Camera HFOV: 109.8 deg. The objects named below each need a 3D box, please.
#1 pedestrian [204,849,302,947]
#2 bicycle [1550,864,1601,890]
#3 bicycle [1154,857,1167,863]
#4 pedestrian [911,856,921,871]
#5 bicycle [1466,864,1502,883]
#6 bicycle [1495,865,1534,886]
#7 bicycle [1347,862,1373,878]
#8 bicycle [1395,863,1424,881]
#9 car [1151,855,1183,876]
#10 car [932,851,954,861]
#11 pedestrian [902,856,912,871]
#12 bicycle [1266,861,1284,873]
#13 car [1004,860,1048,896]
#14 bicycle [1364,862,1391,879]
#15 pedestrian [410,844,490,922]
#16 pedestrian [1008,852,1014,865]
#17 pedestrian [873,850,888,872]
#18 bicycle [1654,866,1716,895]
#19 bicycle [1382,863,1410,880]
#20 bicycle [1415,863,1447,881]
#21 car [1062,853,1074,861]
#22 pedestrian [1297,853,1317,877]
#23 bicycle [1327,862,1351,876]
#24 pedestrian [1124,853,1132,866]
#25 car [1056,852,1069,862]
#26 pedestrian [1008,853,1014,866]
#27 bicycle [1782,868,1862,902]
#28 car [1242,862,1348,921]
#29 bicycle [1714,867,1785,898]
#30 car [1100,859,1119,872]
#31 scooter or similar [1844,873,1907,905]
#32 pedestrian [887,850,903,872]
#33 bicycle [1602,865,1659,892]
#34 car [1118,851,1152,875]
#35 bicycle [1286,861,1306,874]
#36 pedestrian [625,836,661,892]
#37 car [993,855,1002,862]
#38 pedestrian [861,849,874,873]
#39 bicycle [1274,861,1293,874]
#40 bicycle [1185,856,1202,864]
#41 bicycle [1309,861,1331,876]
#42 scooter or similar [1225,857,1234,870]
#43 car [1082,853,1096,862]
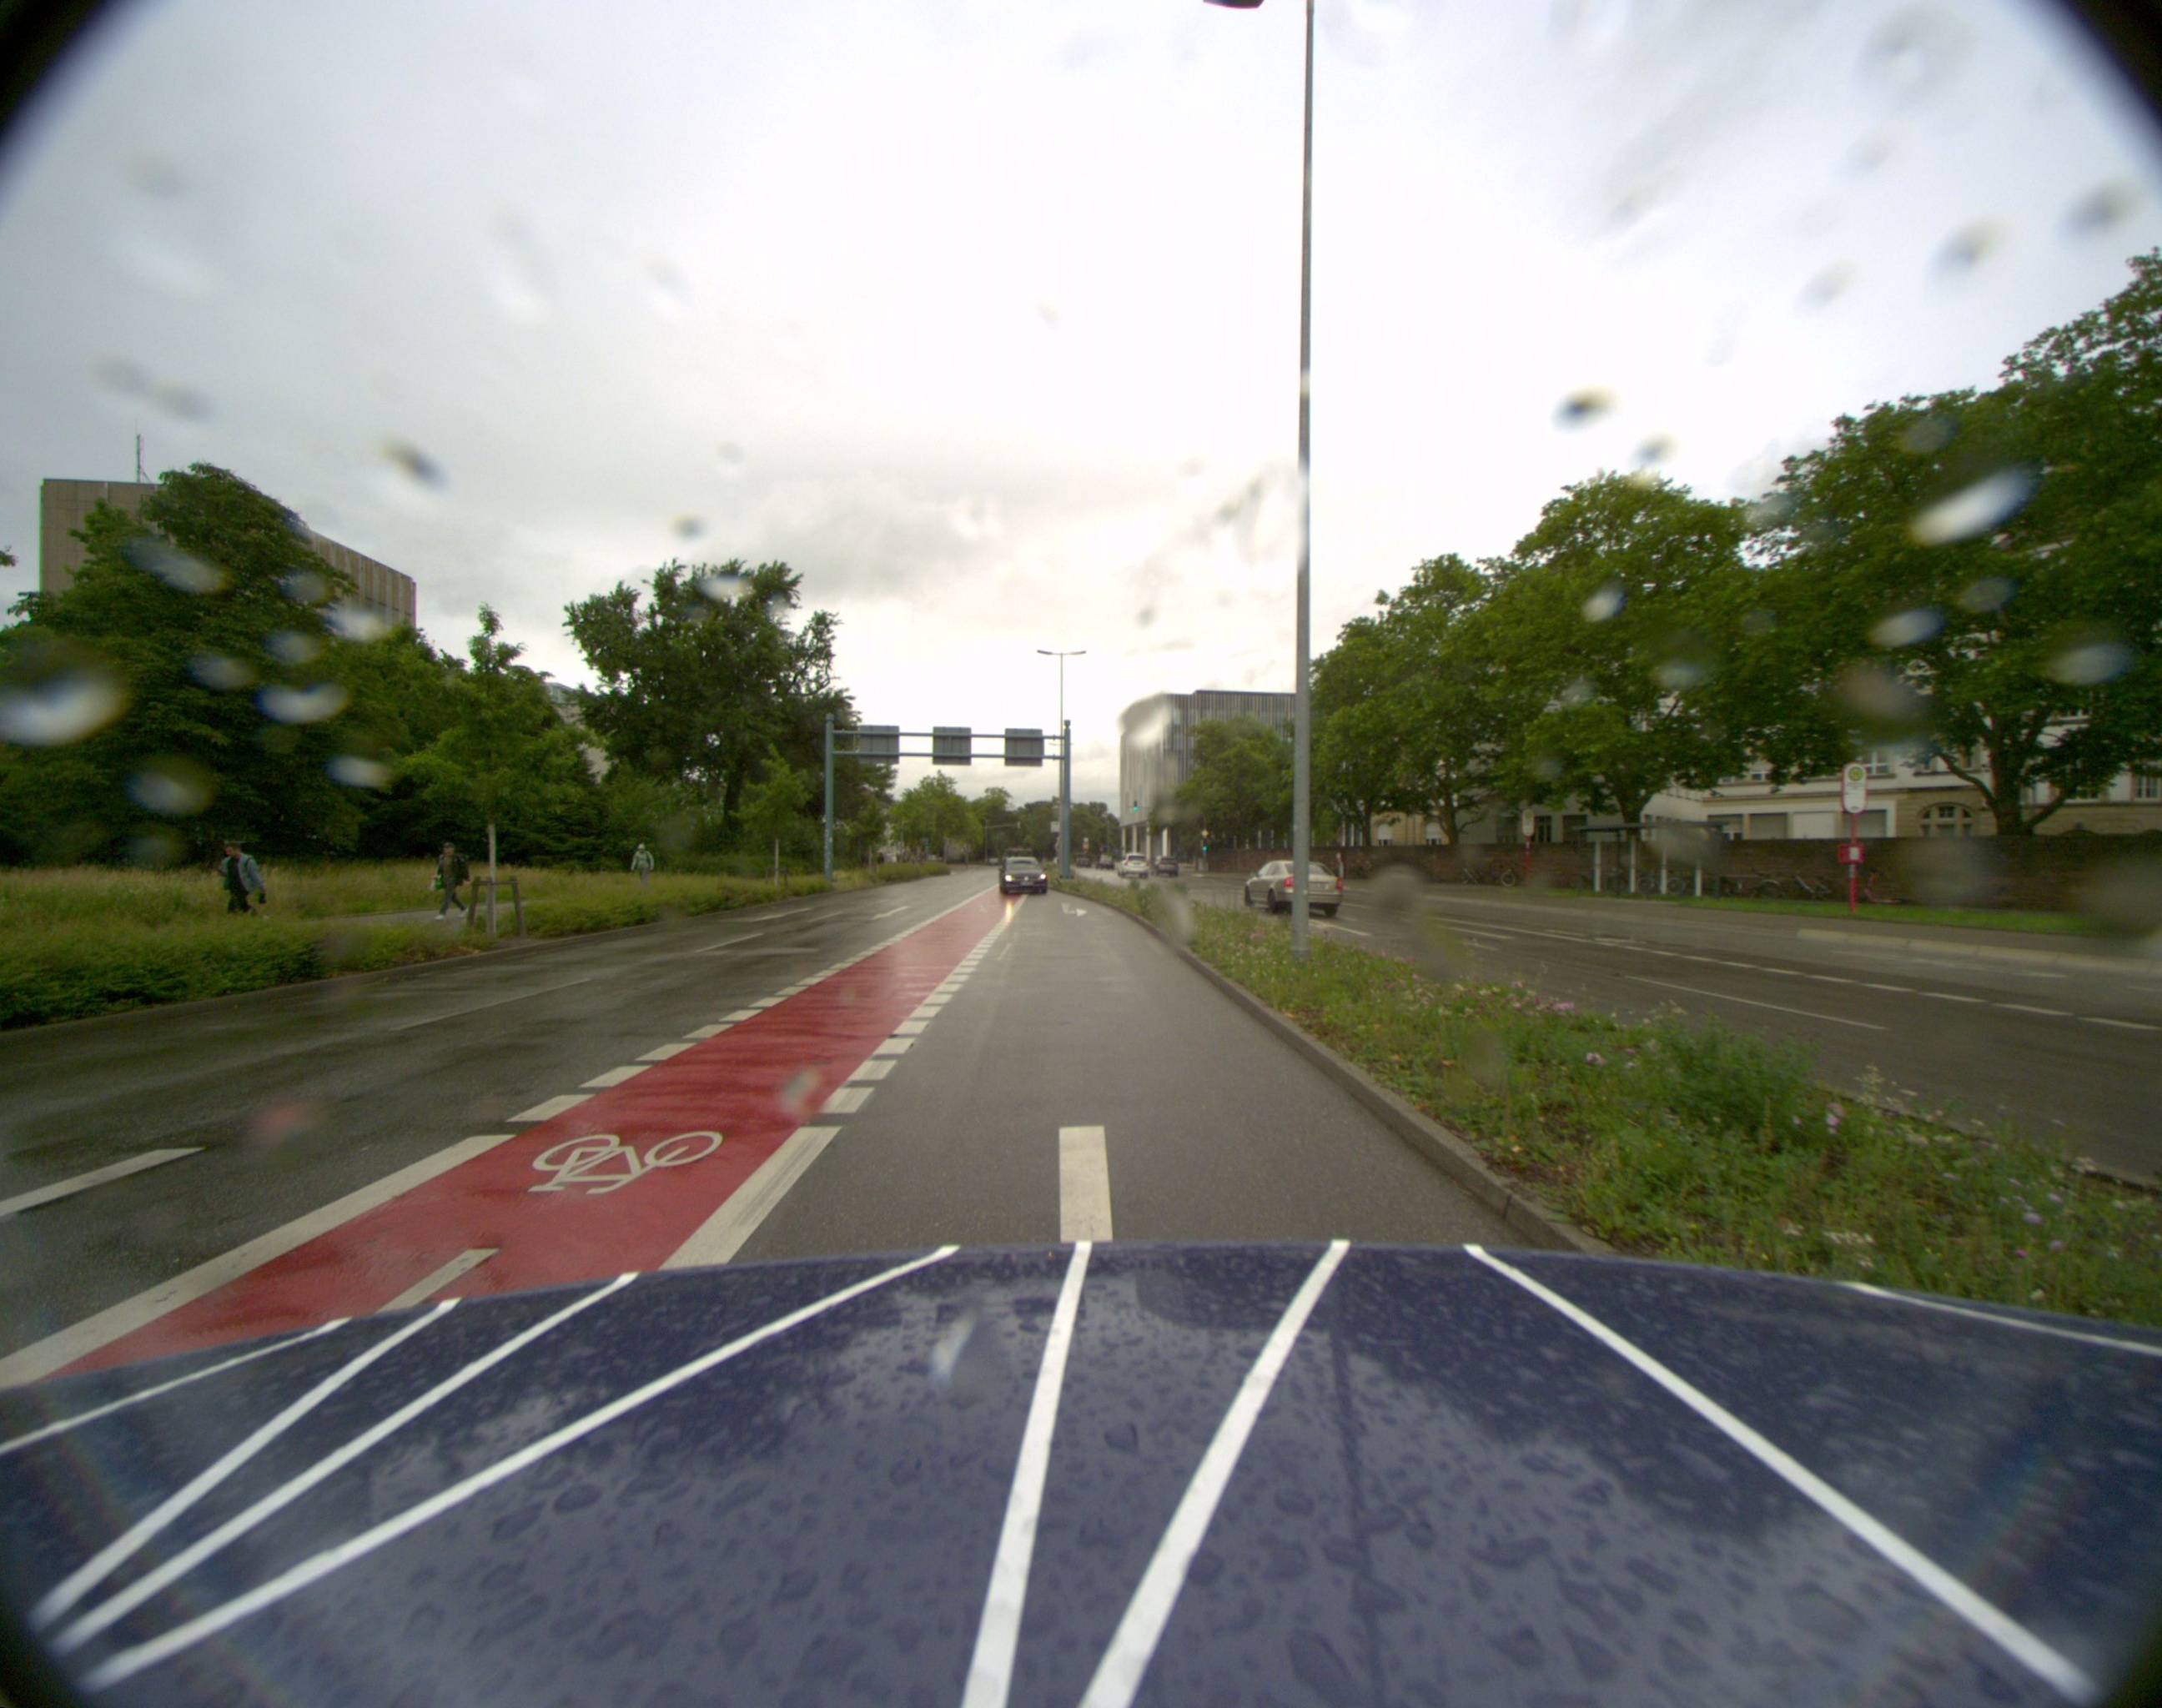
[{"bbox_3d":[-15.581,0.813,14.318,0.935,1.786,0.829,0,0,4],"label":"pedestrian"},{"bbox_3d":[22.767,1.043,35.051,0.575,1.129,1.987,0,0,-22],"label":"bicycle"},{"bbox_3d":[14.061,1.069,134.632,2.287,1.215,0.598,0,0,-15],"label":"bicycle"},{"bbox_3d":[-17.068,0.962,78.728,0.878,1.598,0.862,0,0,-25],"label":"pedestrian"},{"bbox_3d":[21.202,1.028,40.043,0.734,0.977,1.699,0,0,-14],"label":"bicycle"},{"bbox_3d":[21.653,1.069,38.007,0.734,0.977,1.699,0,0,-14],"label":"bicycle"},{"bbox_3d":[18.322,1.039,49.931,0.734,0.977,1.699,0,0,-14],"label":"bicycle"},{"bbox_3d":[19.534,1.057,45.250,0.734,0.977,1.699,0,0,-14],"label":"bicycle"},{"bbox_3d":[7.042,0.908,62.579,1.998,1.626,4.602,2,0,0],"label":"car"},{"bbox_3d":[-28.424,0.429,155.993,4.428,1.862,1.636,0,0,-11],"label":"car"},{"bbox_3d":[-17.926,0.970,78.333,0.878,1.598,0.862,0,0,-23],"label":"pedestrian"},{"bbox_3d":[15.951,1.037,62.378,0.734,0.977,1.699,0,0,-14],"label":"bicycle"},{"bbox_3d":[-2.272,0.925,31.361,1.661,1.356,4.105,0,0,-4],"label":"car"},{"bbox_3d":[18.822,1.040,48.253,0.734,0.977,1.699,0,0,-14],"label":"bicycle"},{"bbox_3d":[-14.444,0.645,17.419,0.935,1.737,1.046,0,0,4],"label":"pedestrian"},{"bbox_3d":[-9.602,0.618,104.424,0.787,1.814,0.624,0,0,-5],"label":"pedestrian"},{"bbox_3d":[-15.613,0.544,59.135,0.935,1.693,0.829,-1,-2,2],"label":"pedestrian"},{"bbox_3d":[24.556,1.051,30.939,0.575,1.129,1.988,0,0,-19],"label":"bicycle"},{"bbox_3d":[19.303,1.057,46.584,0.734,0.977,1.699,0,0,-14],"label":"bicycle"},{"bbox_3d":[19.741,1.025,42.904,0.734,0.977,1.699,0,0,-14],"label":"bicycle"},{"bbox_3d":[-2.388,0.548,138.670,1.601,1.407,4.521,2,0,-6],"label":"car"},{"bbox_3d":[16.126,0.799,54.309,0.871,1.686,1.399,0,0,-9],"label":"pedestrian"},{"bbox_3d":[17.869,1.039,52.659,0.734,0.977,1.699,0,0,-14],"label":"bicycle"},{"bbox_3d":[6.514,0.713,104.831,0.788,1.814,0.794,0,0,-26],"label":"pedestrian"},{"bbox_3d":[-2.994,0.478,122.290,1.684,1.493,3.865,1,0,-7],"label":"car"},{"bbox_3d":[-9.660,0.707,105.113,0.787,1.814,0.624,0,0,-6],"label":"pedestrian"},{"bbox_3d":[26.237,1.083,26.954,0.575,1.129,1.988,0,0,-19],"label":"bicycle"},{"bbox_3d":[5.819,0.966,21.131,1.698,1.407,4.182,0,0,-1],"label":"car"},{"bbox_3d":[25.292,1.054,28.786,0.575,1.129,1.988,0,0,-19],"label":"bicycle"},{"bbox_3d":[3.775,1.502,101.709,1.814,1.531,4.699,2,0,-8],"label":"car"},{"bbox_3d":[26.748,1.163,25.600,0.574,1.040,1.360,0,0,-19],"label":"scooter or similar"},{"bbox_3d":[-14.433,0.540,58.979,0.935,1.710,0.829,-1,-2,2],"label":"pedestrian"},{"bbox_3d":[23.717,1.048,32.832,0.575,1.129,1.987,0,0,-22],"label":"bicycle"},{"bbox_3d":[4.029,0.669,57.730,1.831,1.672,5.163,2,0,-4],"label":"car"},{"bbox_3d":[16.609,1.037,58.708,0.734,0.977,1.699,0,0,-14],"label":"bicycle"},{"bbox_3d":[-15.779,0.353,27.406,0.792,2.002,0.829,0,0,4],"label":"pedestrian"},{"bbox_3d":[-15.689,0.857,143.143,1.661,1.259,4.105,0,0,-4],"label":"car"},{"bbox_3d":[-16.548,0.556,58.973,0.731,1.848,0.851,0,0,4],"label":"pedestrian"},{"bbox_3d":[16.074,1.035,60.358,0.734,0.977,1.699,0,0,-14],"label":"bicycle"},{"bbox_3d":[16.097,0.862,108.767,2.287,1.215,0.598,0,0,-15],"label":"bicycle"},{"bbox_3d":[17.217,1.037,54.727,0.734,0.977,1.699,0,0,-14],"label":"bicycle"},{"bbox_3d":[14.052,0.930,72.024,0.392,1.191,1.141,-7,1,-9],"label":"scooter or similar"},{"bbox_3d":[1.165,0.534,117.021,1.629,1.407,4.063,2,0,-7],"label":"car"}]
